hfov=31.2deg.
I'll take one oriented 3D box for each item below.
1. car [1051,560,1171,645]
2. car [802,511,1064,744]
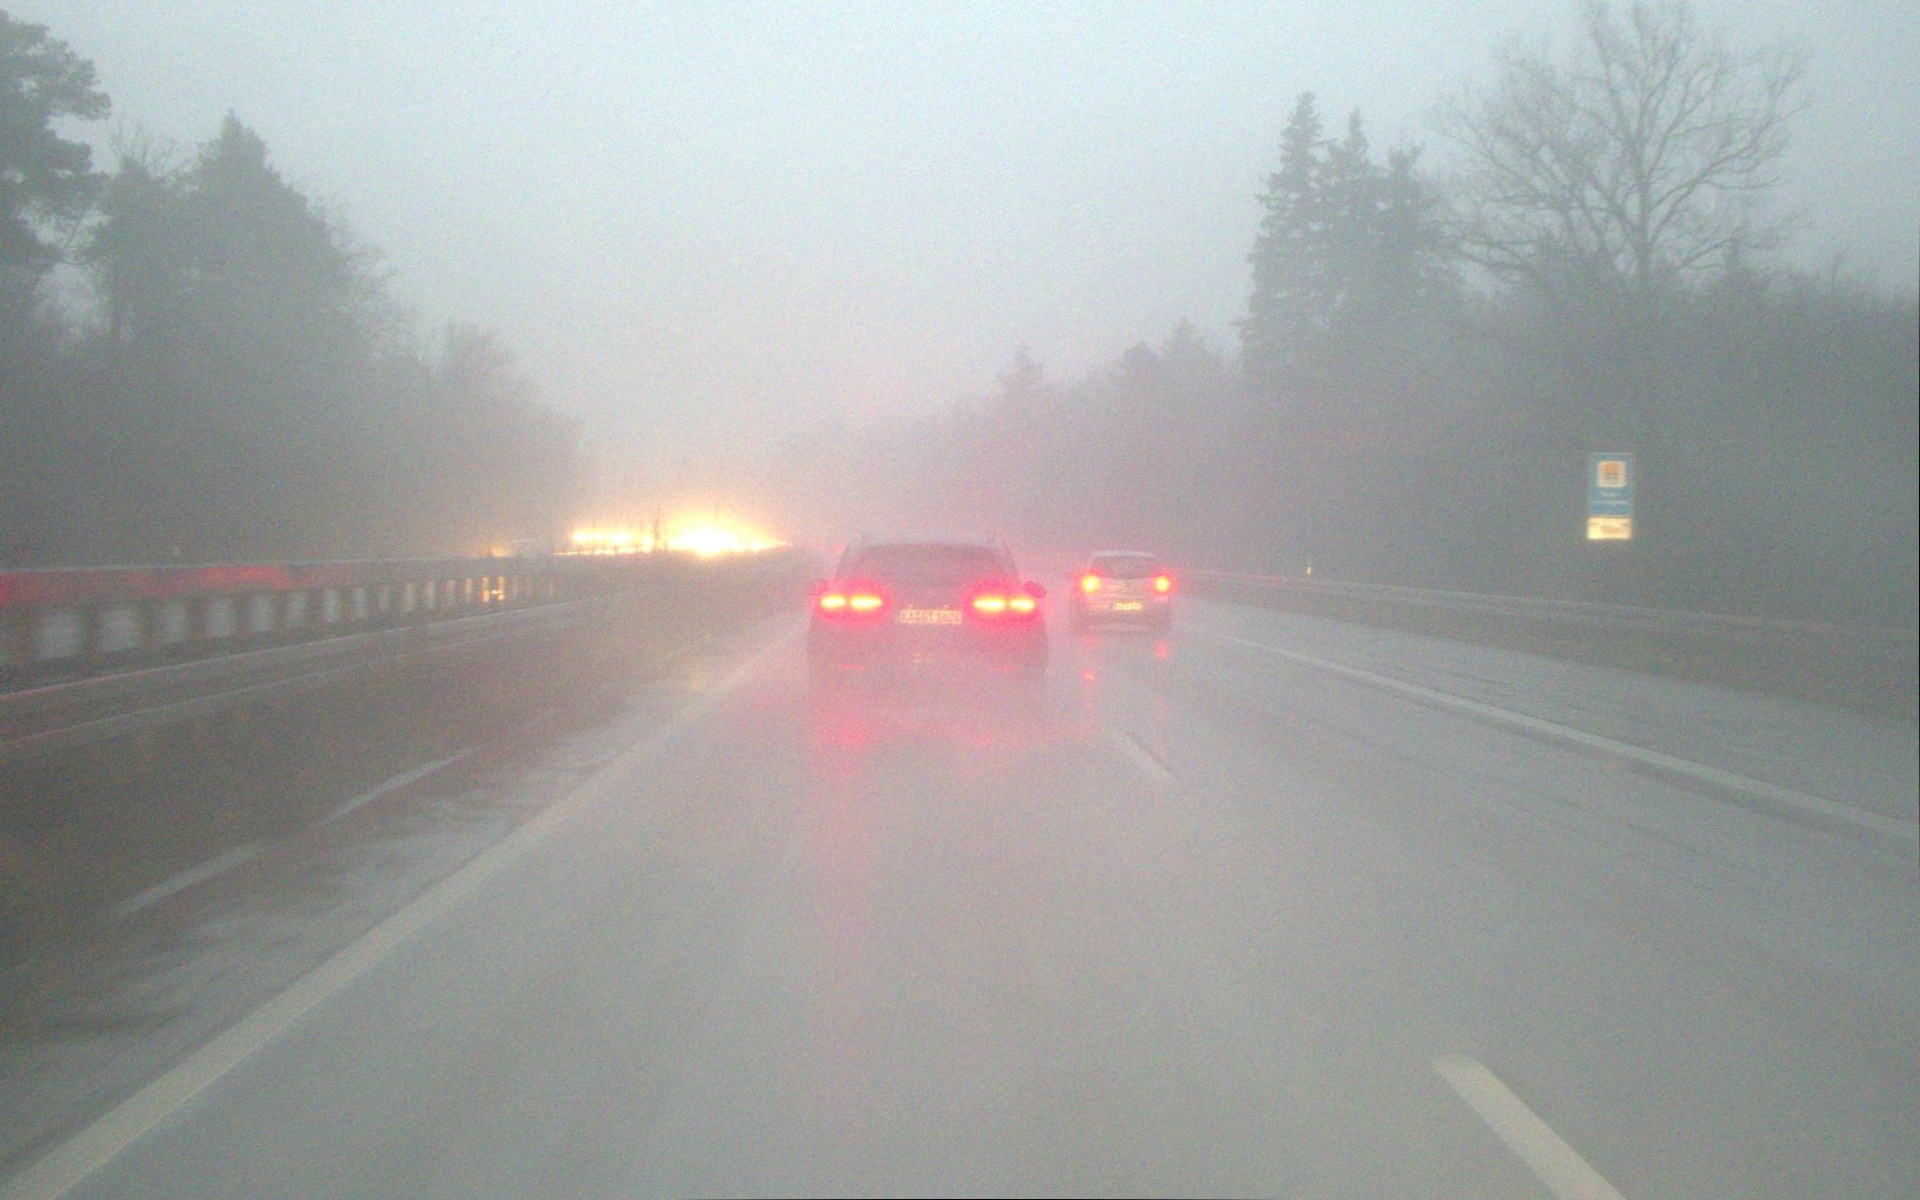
[{"bbox_3d":[2.644,0.023,60.827,1.780,1.432,3.538,1,1,-3],"label":"car"},{"bbox_3d":[-0.235,0.174,28.297,1.986,1.761,4.173,1,1,-1],"label":"car"}]
